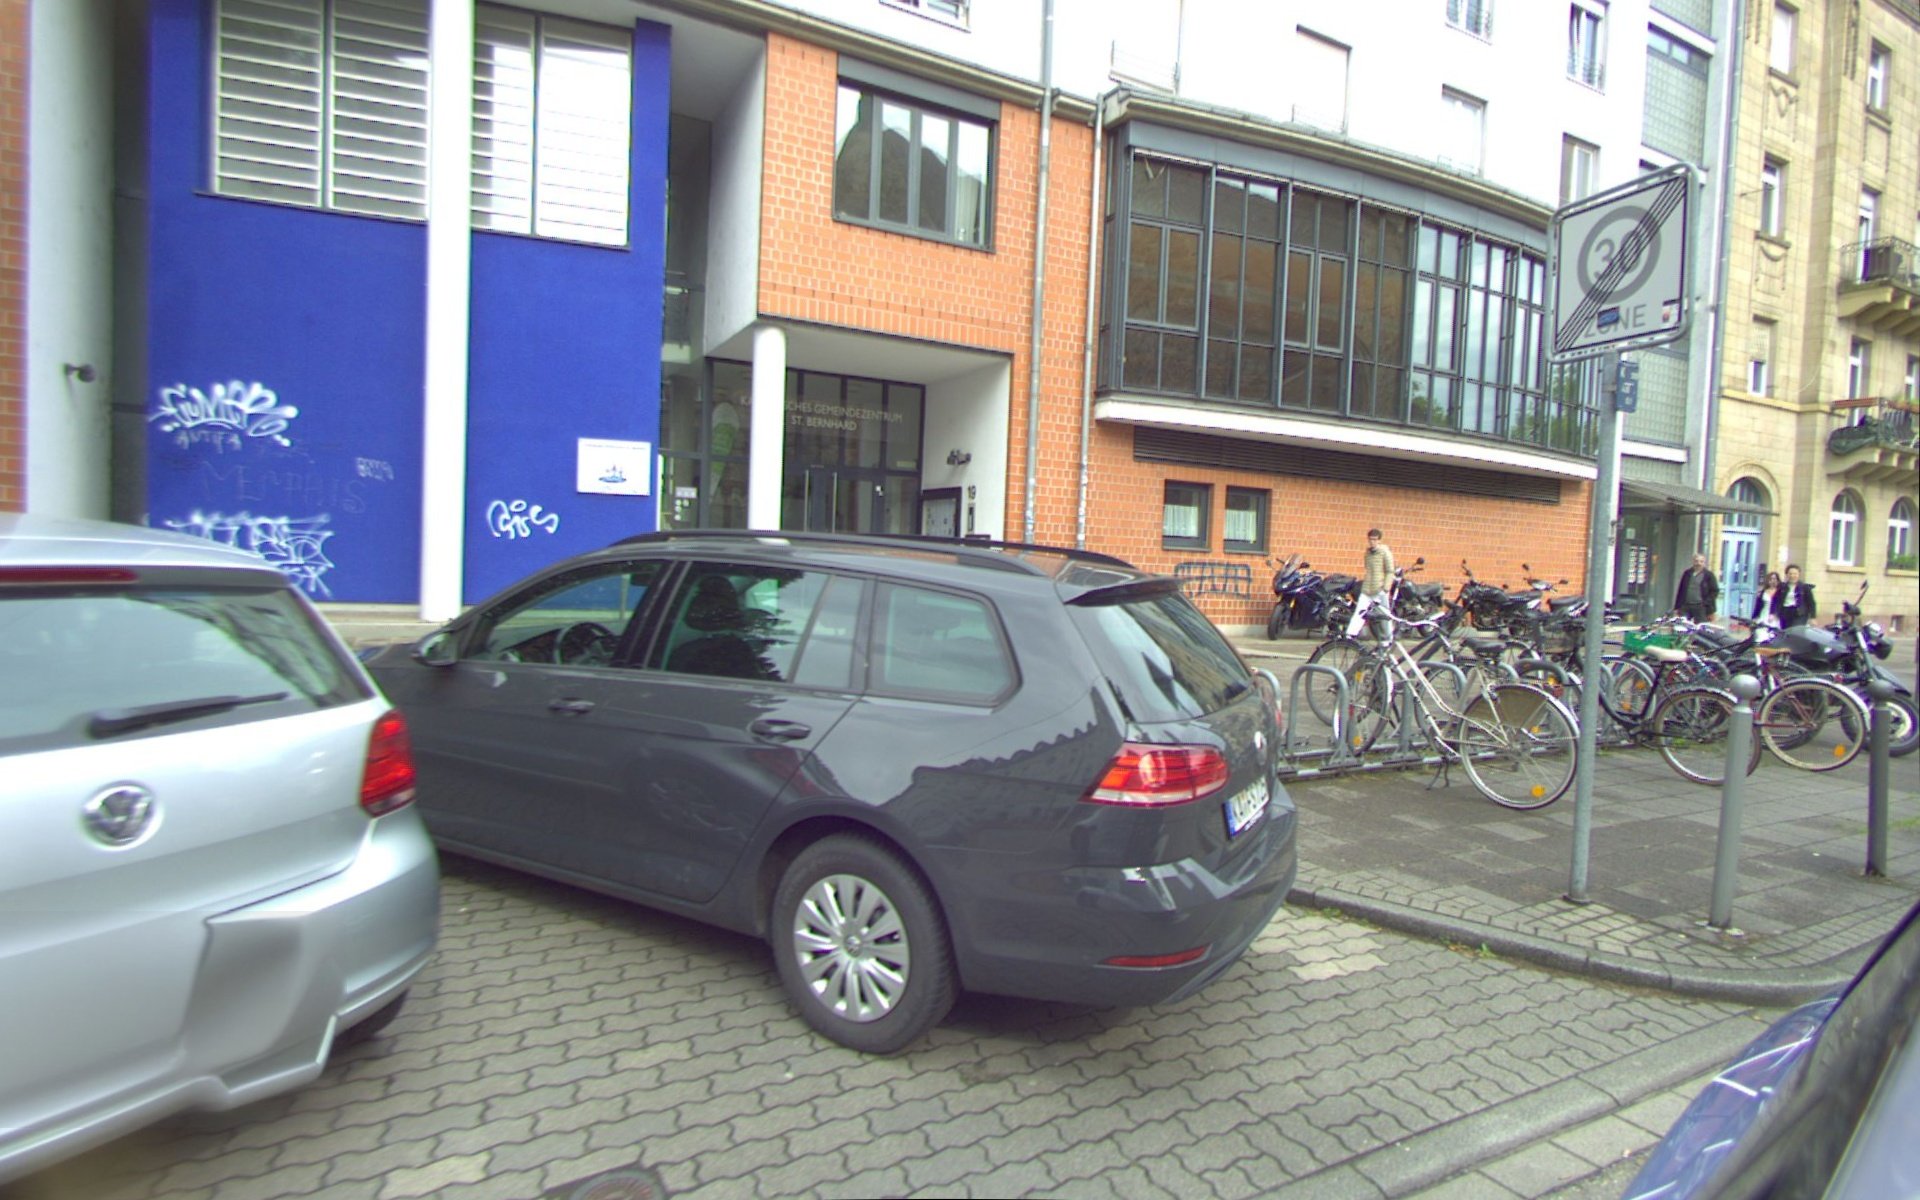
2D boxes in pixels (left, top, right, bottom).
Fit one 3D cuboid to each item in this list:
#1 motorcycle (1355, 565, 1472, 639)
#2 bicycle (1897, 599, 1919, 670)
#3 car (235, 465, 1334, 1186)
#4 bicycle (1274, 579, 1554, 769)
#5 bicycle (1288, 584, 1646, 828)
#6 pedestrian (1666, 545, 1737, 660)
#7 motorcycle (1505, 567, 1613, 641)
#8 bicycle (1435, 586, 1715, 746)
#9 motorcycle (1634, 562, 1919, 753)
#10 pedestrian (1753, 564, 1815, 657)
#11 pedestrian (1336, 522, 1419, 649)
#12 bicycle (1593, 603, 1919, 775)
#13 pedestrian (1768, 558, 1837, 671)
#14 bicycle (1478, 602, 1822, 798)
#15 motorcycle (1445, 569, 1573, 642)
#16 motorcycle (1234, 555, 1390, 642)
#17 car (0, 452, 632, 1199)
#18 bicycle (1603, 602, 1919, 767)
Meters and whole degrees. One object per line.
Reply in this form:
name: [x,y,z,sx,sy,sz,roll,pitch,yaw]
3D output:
motorcycle: [7.555,0.031,16.836,2.028,1.157,0.604,1,3,-29]
bicycle: [15.848,0.610,16.070,0.721,1.117,1.726,4,4,20]
car: [-0.875,0.367,4.194,4.252,1.597,1.845,6,5,29]
bicycle: [3.345,0.472,7.669,0.600,1.154,1.893,0,4,-31]
bicycle: [2.991,0.539,6.212,0.600,1.154,1.893,0,4,-31]
pedestrian: [12.044,0.022,16.440,0.530,1.792,0.646,0,5,-29]
motorcycle: [10.980,0.071,18.571,1.535,1.208,0.604,4,3,-5]
bicycle: [5.160,0.490,8.652,0.600,1.089,1.938,0,4,-31]
motorcycle: [7.518,0.427,9.187,0.755,1.446,2.144,0,4,-31]
pedestrian: [14.177,0.168,17.412,0.703,1.528,0.521,0,5,-32]
pedestrian: [6.098,-0.219,14.803,0.795,1.774,0.633,1,5,-32]
bicycle: [6.279,0.635,8.108,0.600,1.055,1.938,0,4,-31]
pedestrian: [13.106,0.211,15.741,0.703,1.681,0.521,0,5,-32]
bicycle: [4.786,0.622,7.191,0.600,1.055,1.893,0,4,-31]
motorcycle: [9.558,0.092,17.639,1.845,1.157,0.604,2,3,-3]
motorcycle: [5.434,-0.017,15.607,2.164,1.217,1.033,1,3,-29]
car: [-2.892,0.439,2.771,3.532,1.517,1.829,3,2,27]
bicycle: [6.732,0.638,8.611,0.600,1.075,2.019,0,4,-31]
